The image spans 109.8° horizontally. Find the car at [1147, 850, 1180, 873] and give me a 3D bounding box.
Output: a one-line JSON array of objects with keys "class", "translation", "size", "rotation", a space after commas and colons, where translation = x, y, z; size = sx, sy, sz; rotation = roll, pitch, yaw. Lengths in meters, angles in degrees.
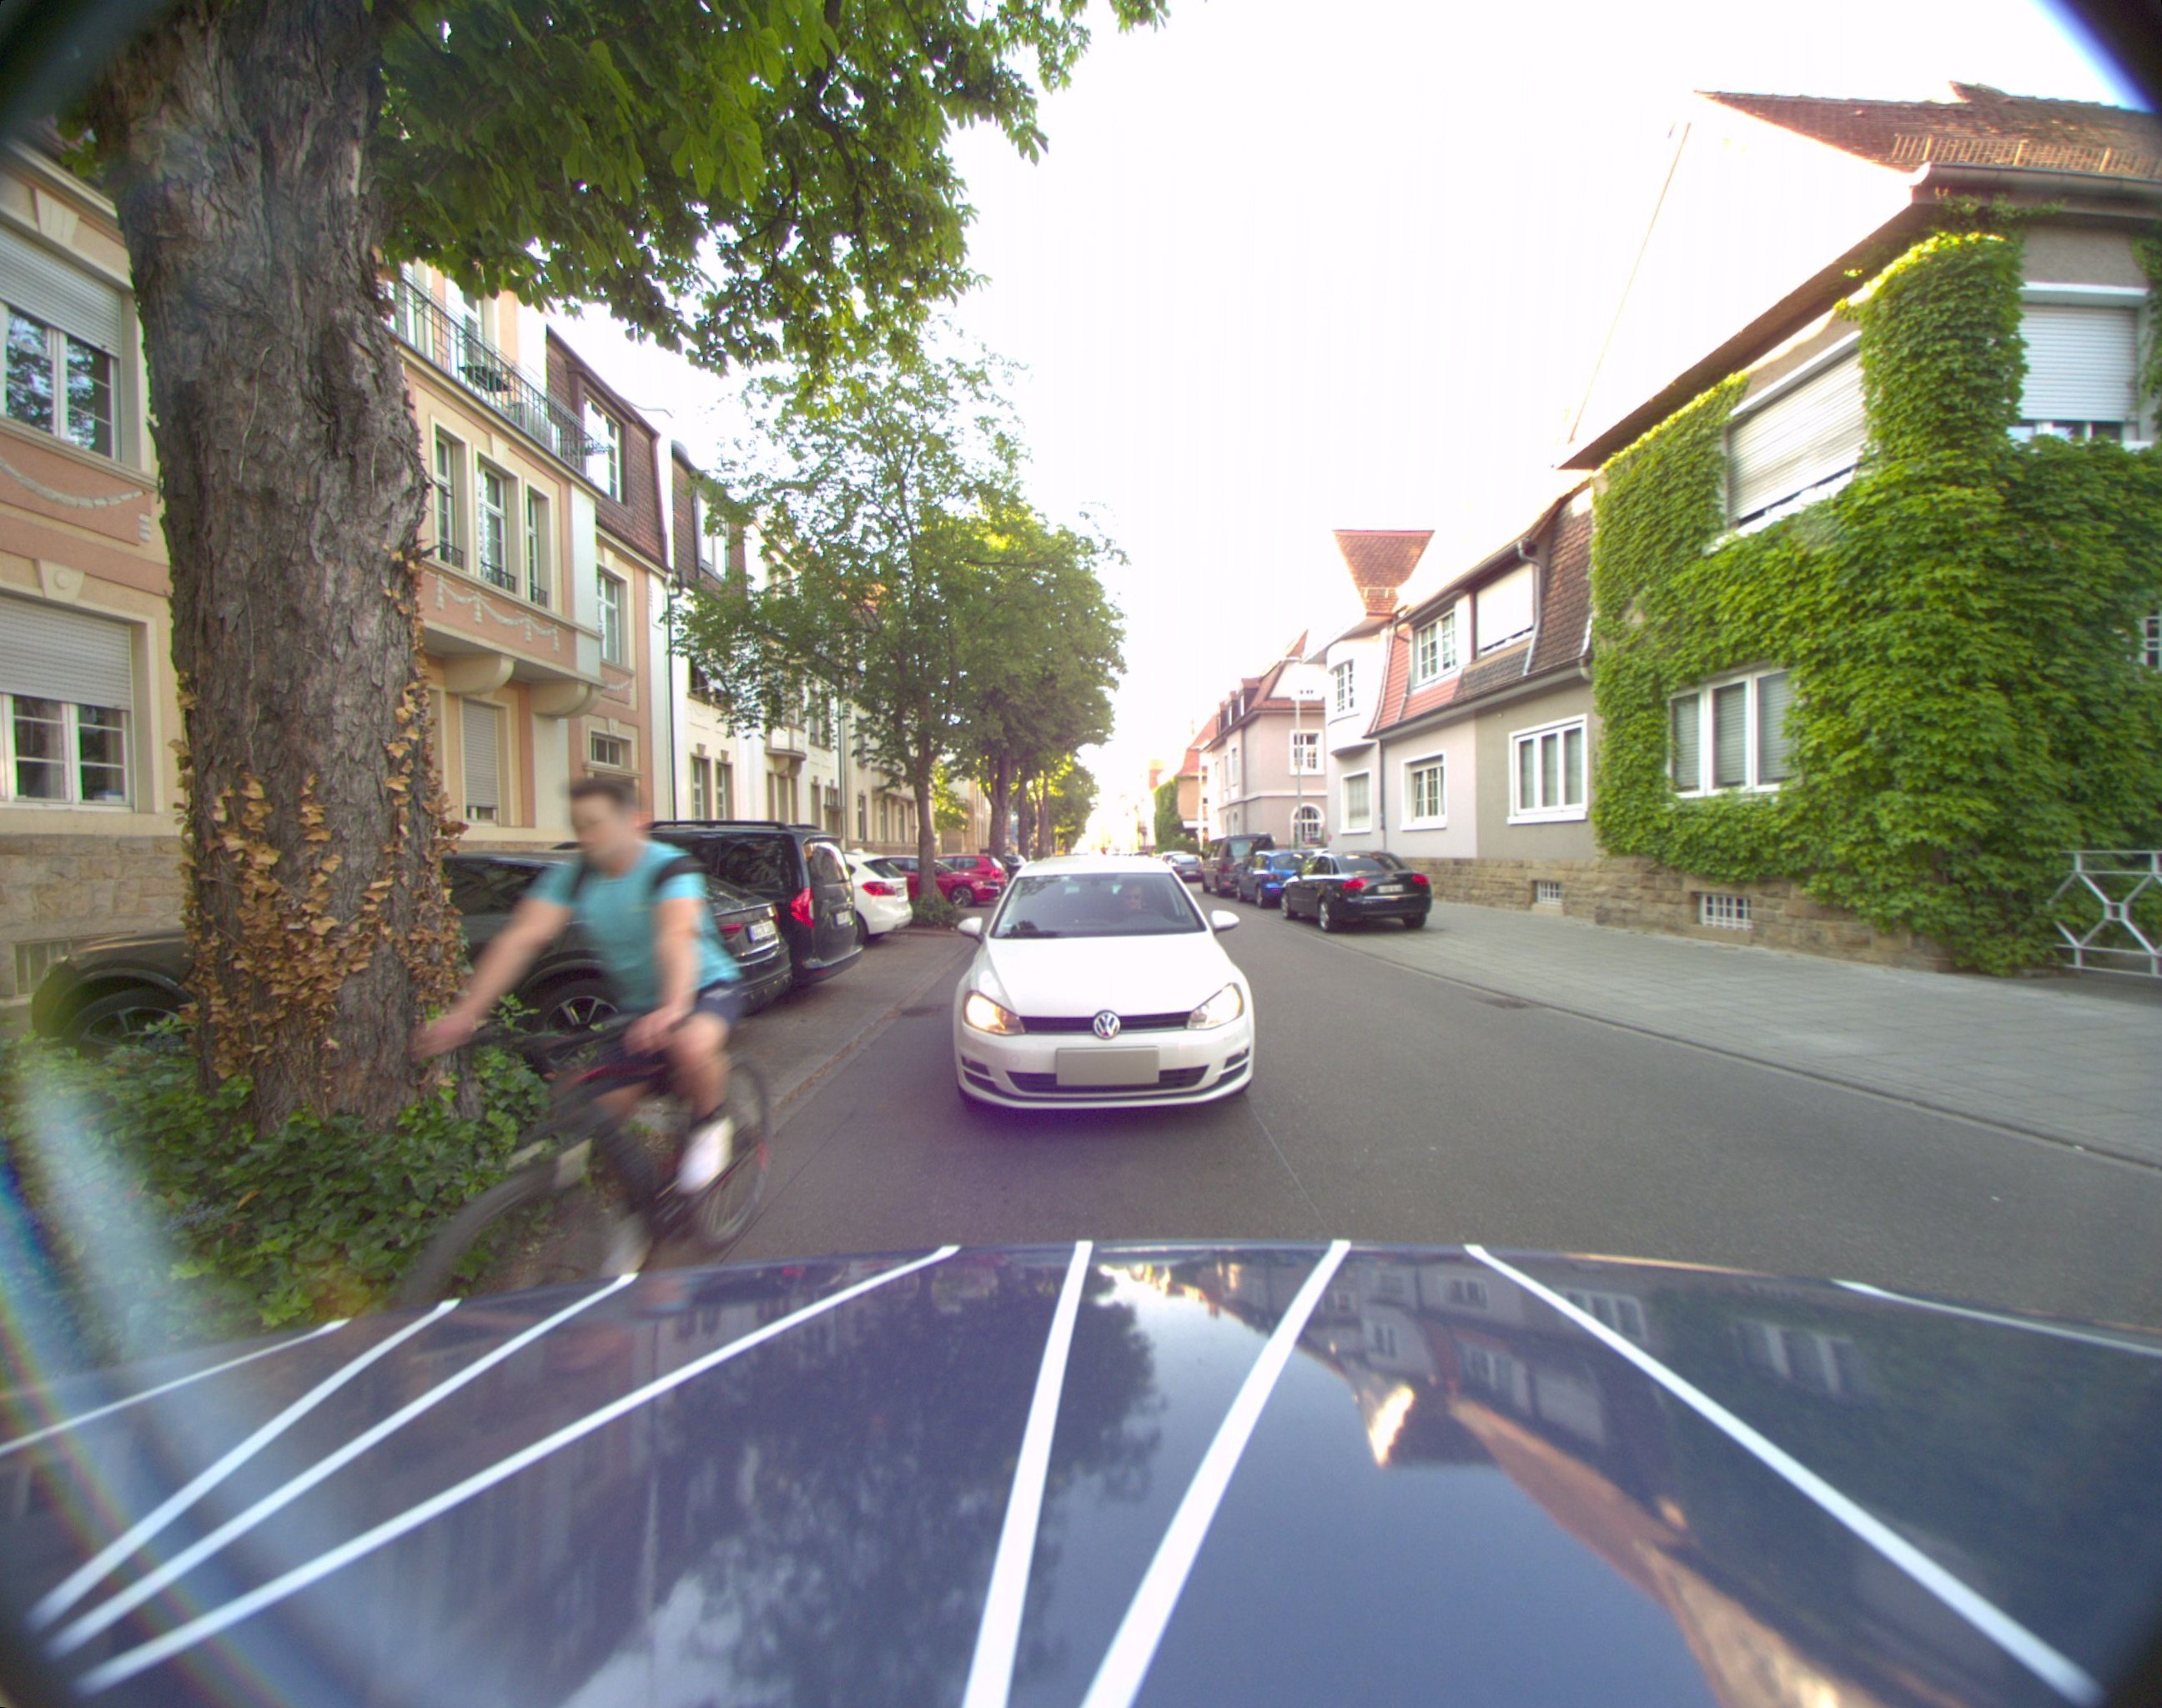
[{"class": "car", "translation": [5.443, 0.463, 50.645], "size": [1.719, 1.363, 3.945], "rotation": [-3, 0, 0]}]

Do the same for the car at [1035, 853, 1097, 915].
[{"class": "car", "translation": [-0.352, 0.773, 21.184], "size": [1.560, 1.546, 3.738], "rotation": [1, 0, 1]}]

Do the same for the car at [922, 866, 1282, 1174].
[{"class": "car", "translation": [0.073, 0.883, 5.912], "size": [1.799, 1.420, 4.023], "rotation": [-2, 0, -1]}]

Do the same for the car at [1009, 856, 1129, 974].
[{"class": "car", "translation": [-0.138, 0.836, 12.264], "size": [1.600, 1.546, 4.000], "rotation": [1, 0, 1]}]

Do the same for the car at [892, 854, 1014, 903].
[{"class": "car", "translation": [-4.045, 0.764, 24.330], "size": [3.622, 1.456, 1.537], "rotation": [1, 1, 0]}]

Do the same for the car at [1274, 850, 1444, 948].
[{"class": "car", "translation": [5.055, 0.730, 14.423], "size": [1.751, 1.421, 4.023], "rotation": [-4, 1, 1]}]

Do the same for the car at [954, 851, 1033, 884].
[{"class": "car", "translation": [-4.201, 0.642, 36.809], "size": [3.622, 1.555, 1.537], "rotation": [0, 1, 0]}]

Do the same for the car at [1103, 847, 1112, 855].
[{"class": "car", "translation": [5.232, -0.529, 148.676], "size": [1.643, 1.461, 3.689], "rotation": [-3, 0, 0]}]

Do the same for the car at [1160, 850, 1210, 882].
[{"class": "car", "translation": [4.980, 0.554, 36.824], "size": [1.719, 1.363, 4.334], "rotation": [-3, 0, 0]}]

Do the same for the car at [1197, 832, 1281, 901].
[{"class": "car", "translation": [5.129, 0.342, 25.229], "size": [1.719, 1.961, 4.310], "rotation": [-4, 1, 0]}]

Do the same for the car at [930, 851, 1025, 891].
[{"class": "car", "translation": [-4.173, 0.667, 30.935], "size": [3.622, 1.555, 1.537], "rotation": [0, 1, 0]}]

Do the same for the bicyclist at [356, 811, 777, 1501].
[{"class": "bicyclist", "translation": [-1.484, 0.781, 2.366], "size": [0.648, 1.765, 0.830], "rotation": [-2, 1, 1]}]

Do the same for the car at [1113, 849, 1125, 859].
[{"class": "car", "translation": [5.736, -0.029, 115.745], "size": [1.643, 1.461, 3.689], "rotation": [-3, 0, 0]}]

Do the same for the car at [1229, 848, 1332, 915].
[{"class": "car", "translation": [5.213, 0.655, 20.384], "size": [1.611, 1.455, 4.023], "rotation": [-4, 1, 0]}]

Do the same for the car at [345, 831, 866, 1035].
[{"class": "car", "translation": [-4.467, 0.708, 7.665], "size": [4.173, 1.816, 1.594], "rotation": [1, 1, -4]}]

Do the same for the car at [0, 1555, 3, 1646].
[{"class": "car", "translation": [-4.665, 0.792, 0.505], "size": [4.835, 1.814, 1.880], "rotation": [1, 1, -4]}]

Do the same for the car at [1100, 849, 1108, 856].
[{"class": "car", "translation": [5.155, -0.416, 173.331], "size": [1.643, 1.461, 3.689], "rotation": [-3, 0, 0]}]

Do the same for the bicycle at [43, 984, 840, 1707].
[{"class": "bicycle", "translation": [-1.487, 1.152, 2.395], "size": [0.744, 1.111, 2.013], "rotation": [-2, 0, 1]}]

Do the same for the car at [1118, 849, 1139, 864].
[{"class": "car", "translation": [5.008, 0.239, 80.539], "size": [1.643, 1.461, 3.688], "rotation": [-3, 0, -4]}]

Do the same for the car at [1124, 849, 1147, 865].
[{"class": "car", "translation": [5.405, 0.290, 75.462], "size": [1.643, 1.461, 3.688], "rotation": [-3, 0, -4]}]

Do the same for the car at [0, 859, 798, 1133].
[{"class": "car", "translation": [-4.391, 0.863, 5.403], "size": [4.173, 1.583, 1.594], "rotation": [1, 1, -4]}]

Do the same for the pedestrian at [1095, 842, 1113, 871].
[{"class": "pedestrian", "translation": [1.645, 0.181, 54.975], "size": [1.189, 2.002, 0.930], "rotation": [1, 1, -6]}]

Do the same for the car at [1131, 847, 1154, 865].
[{"class": "car", "translation": [5.491, 0.175, 68.268], "size": [1.643, 1.461, 3.945], "rotation": [-3, 0, 0]}]

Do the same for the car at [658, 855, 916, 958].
[{"class": "car", "translation": [-4.653, 0.819, 12.418], "size": [3.623, 1.541, 1.537], "rotation": [1, 1, -4]}]

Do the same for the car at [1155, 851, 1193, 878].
[{"class": "car", "translation": [5.147, 0.539, 42.239], "size": [1.541, 1.363, 3.945], "rotation": [-3, 0, 0]}]

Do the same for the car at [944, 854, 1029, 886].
[{"class": "car", "translation": [-4.195, 0.721, 34.219], "size": [3.622, 1.395, 1.537], "rotation": [0, 1, 0]}]

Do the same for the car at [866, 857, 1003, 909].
[{"class": "car", "translation": [-4.132, 0.800, 21.785], "size": [3.622, 1.395, 1.537], "rotation": [1, 1, 0]}]

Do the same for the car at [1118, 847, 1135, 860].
[{"class": "car", "translation": [5.464, -0.026, 91.216], "size": [1.643, 1.461, 3.689], "rotation": [-3, 0, -1]}]

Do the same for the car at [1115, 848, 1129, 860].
[{"class": "car", "translation": [5.457, -0.051, 101.174], "size": [1.643, 1.461, 3.689], "rotation": [-3, 0, 0]}]
